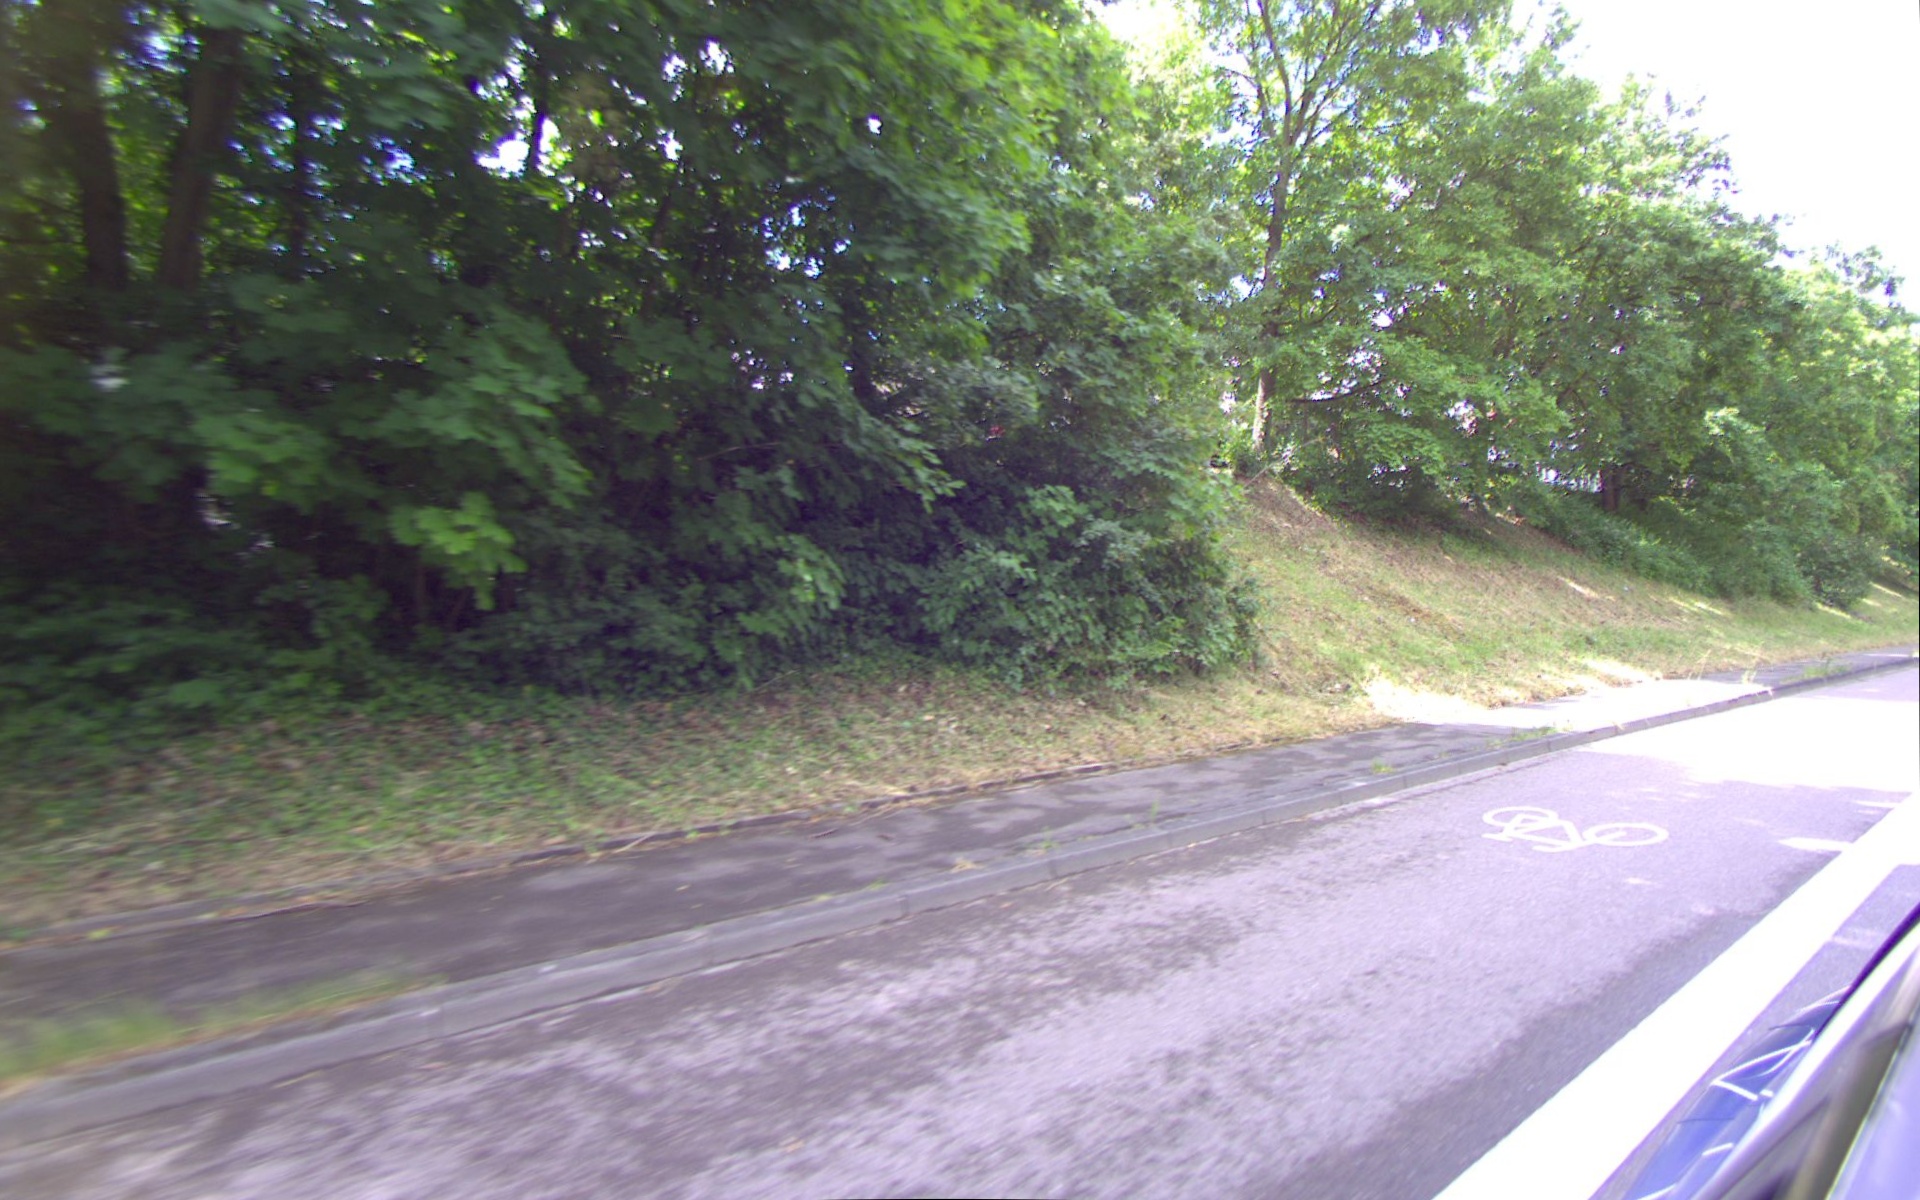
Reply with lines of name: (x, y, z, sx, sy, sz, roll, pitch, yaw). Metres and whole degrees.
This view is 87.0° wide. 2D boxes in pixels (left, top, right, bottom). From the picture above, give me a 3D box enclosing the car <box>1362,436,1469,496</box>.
car: (15.148, -4.381, 33.568, 3.927, 1.517, 1.777, 0, 0, -41)
